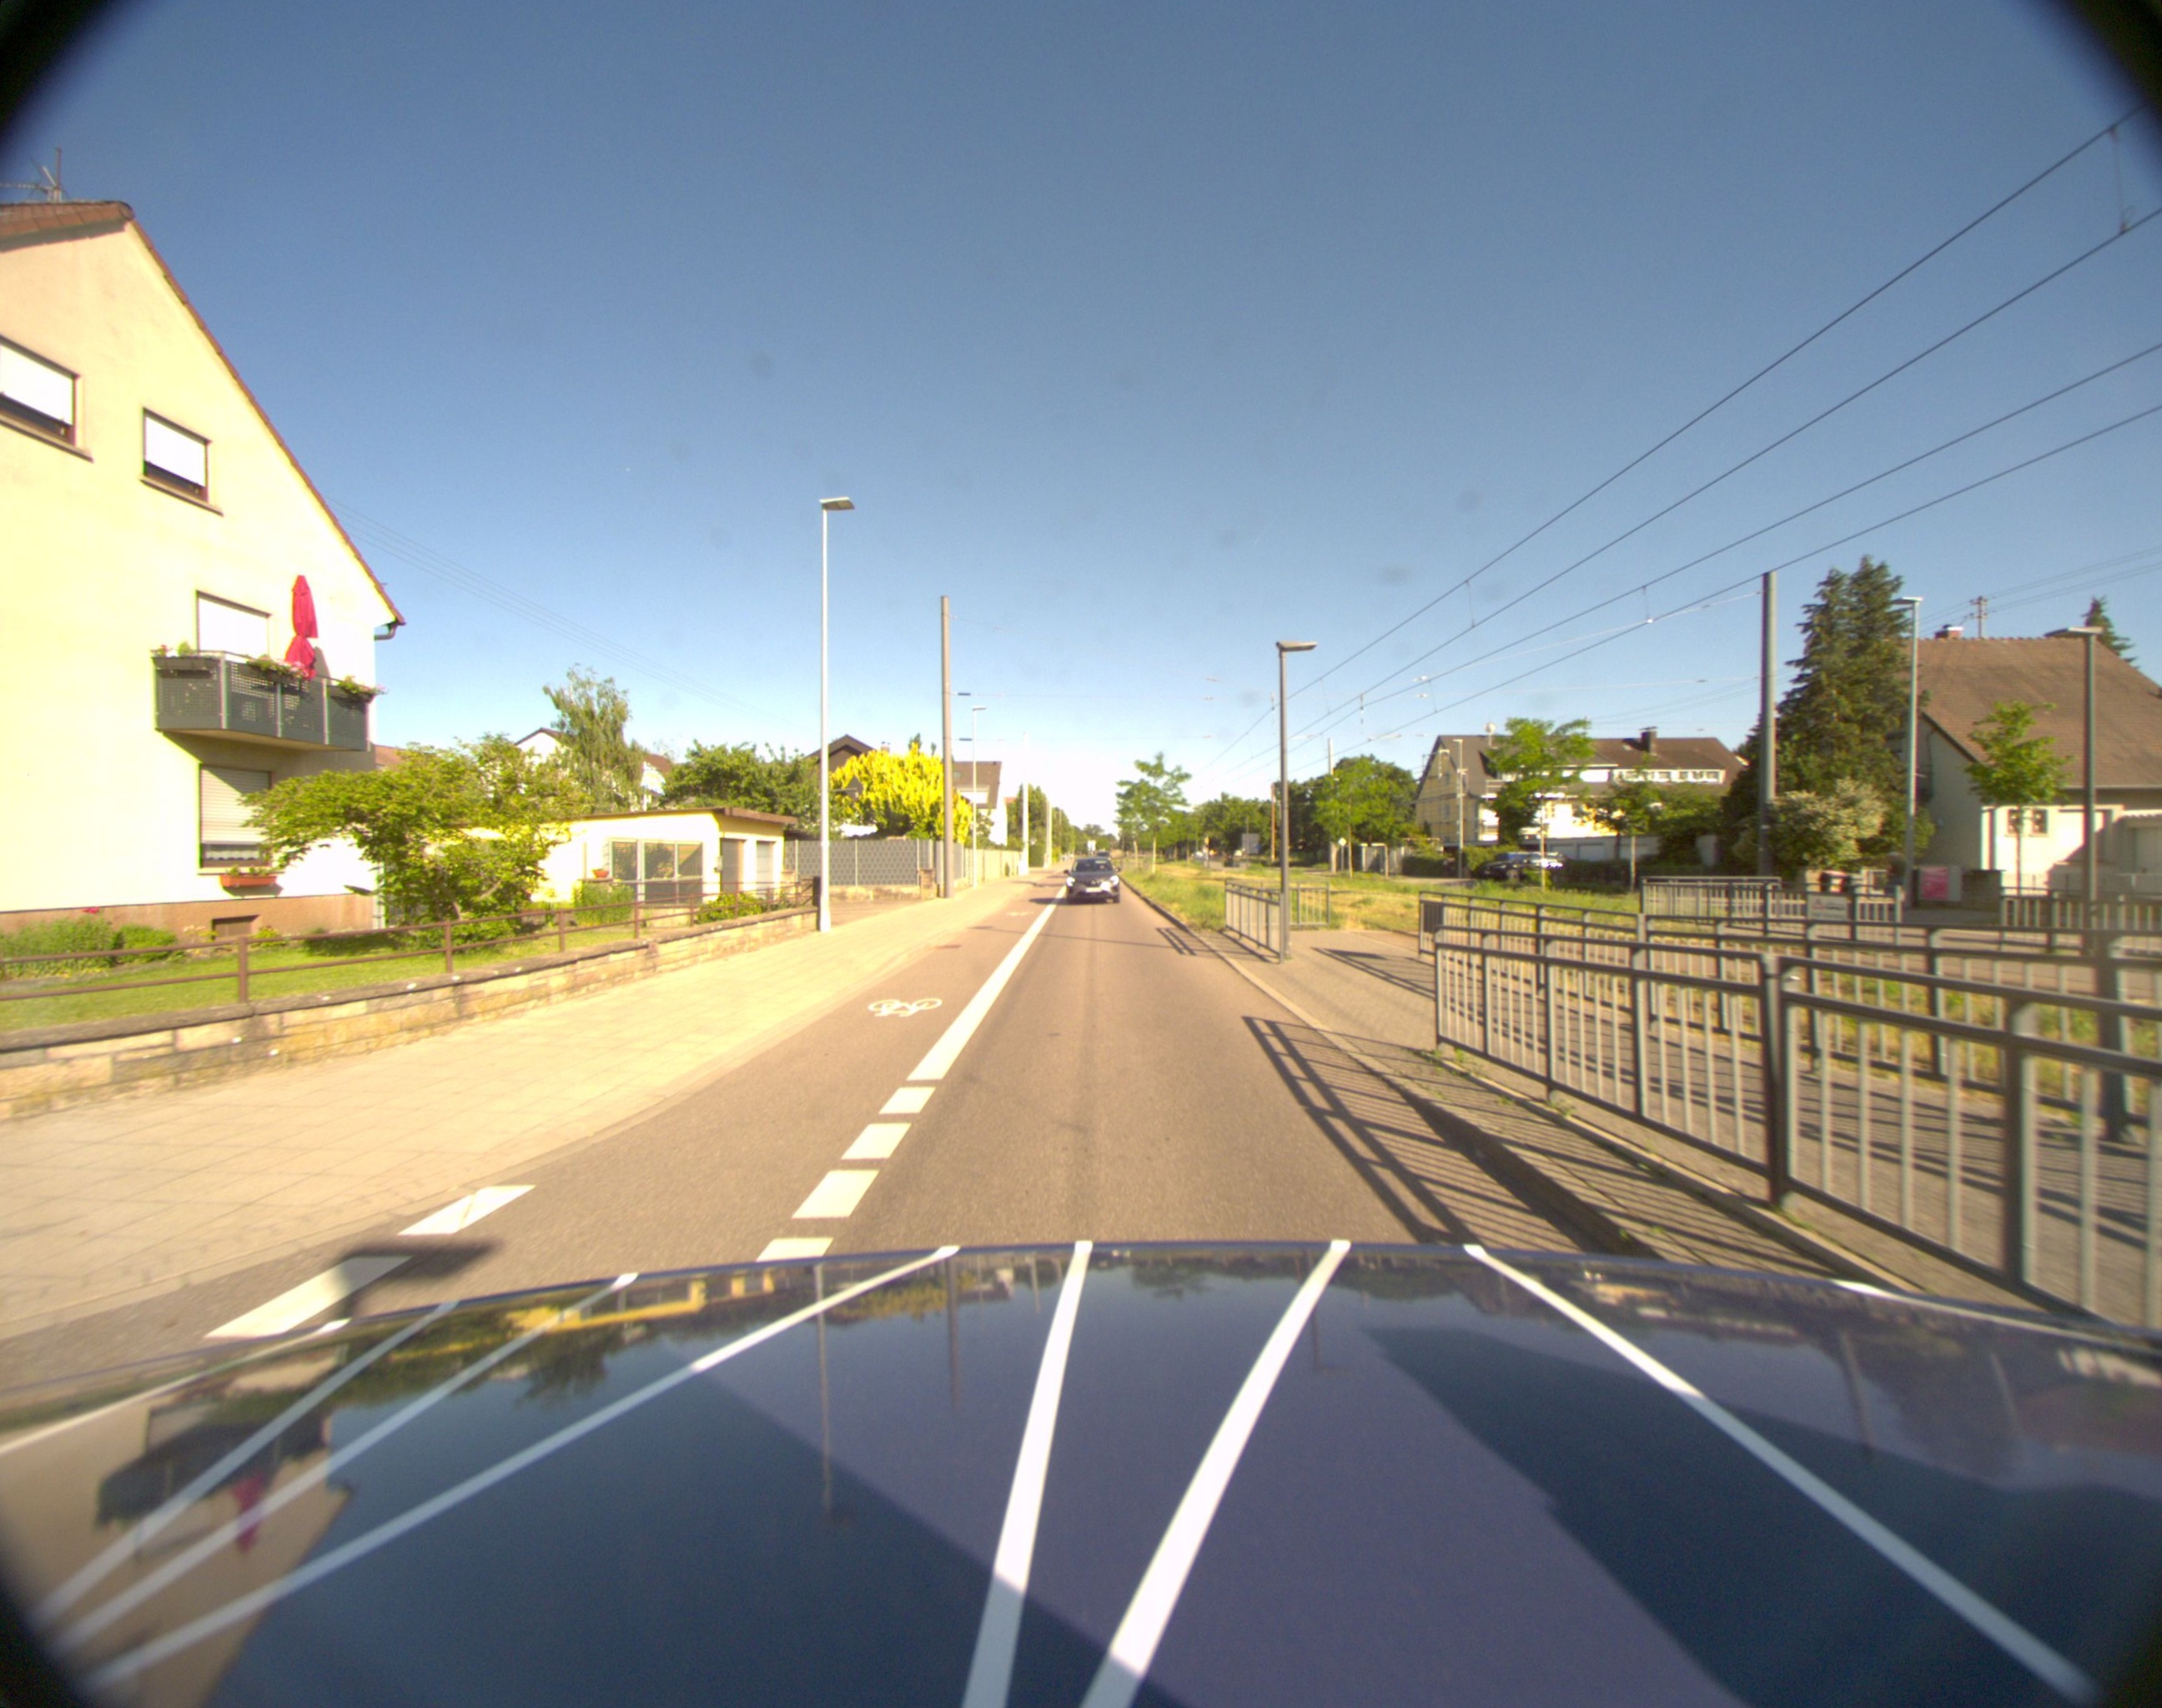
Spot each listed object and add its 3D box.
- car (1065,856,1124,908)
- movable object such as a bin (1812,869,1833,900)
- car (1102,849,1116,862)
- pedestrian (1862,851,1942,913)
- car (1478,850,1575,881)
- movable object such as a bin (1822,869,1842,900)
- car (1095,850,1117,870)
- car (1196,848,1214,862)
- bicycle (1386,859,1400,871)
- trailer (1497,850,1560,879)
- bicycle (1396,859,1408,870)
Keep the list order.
[{"bbox_3d":[0.419,0.911,26.684,1.867,1.614,3.999,-1,0,-1],"label":"car"},{"bbox_3d":[23.951,0.981,24.541,0.326,0.964,0.350,-2,1,-3],"label":"movable object such as a bin"},{"bbox_3d":[4.124,0.169,111.982,1.998,1.824,4.000,-2,1,1],"label":"car"},{"bbox_3d":[22.298,0.746,20.664,0.967,1.631,1.085,0,1,1],"label":"pedestrian"},{"bbox_3d":[25.288,0.632,43.191,4.556,1.724,2.051,0,1,-11],"label":"car"},{"bbox_3d":[24.274,0.984,24.566,0.299,0.960,0.333,-2,1,-3],"label":"movable object such as a bin"},{"bbox_3d":[2.431,0.592,74.762,1.998,1.824,4.000,-2,1,1],"label":"car"},{"bbox_3d":[17.231,0.087,105.359,1.902,1.903,4.702,0,0,2],"label":"car"},{"bbox_3d":[24.625,0.858,60.004,0.424,0.937,1.748,-2,1,1],"label":"bicycle"},{"bbox_3d":[26.632,0.606,45.287,2.921,1.638,1.398,0,1,-2],"label":"trailer"},{"bbox_3d":[25.411,0.801,60.082,0.311,0.817,1.509,-2,1,1],"label":"bicycle"}]
